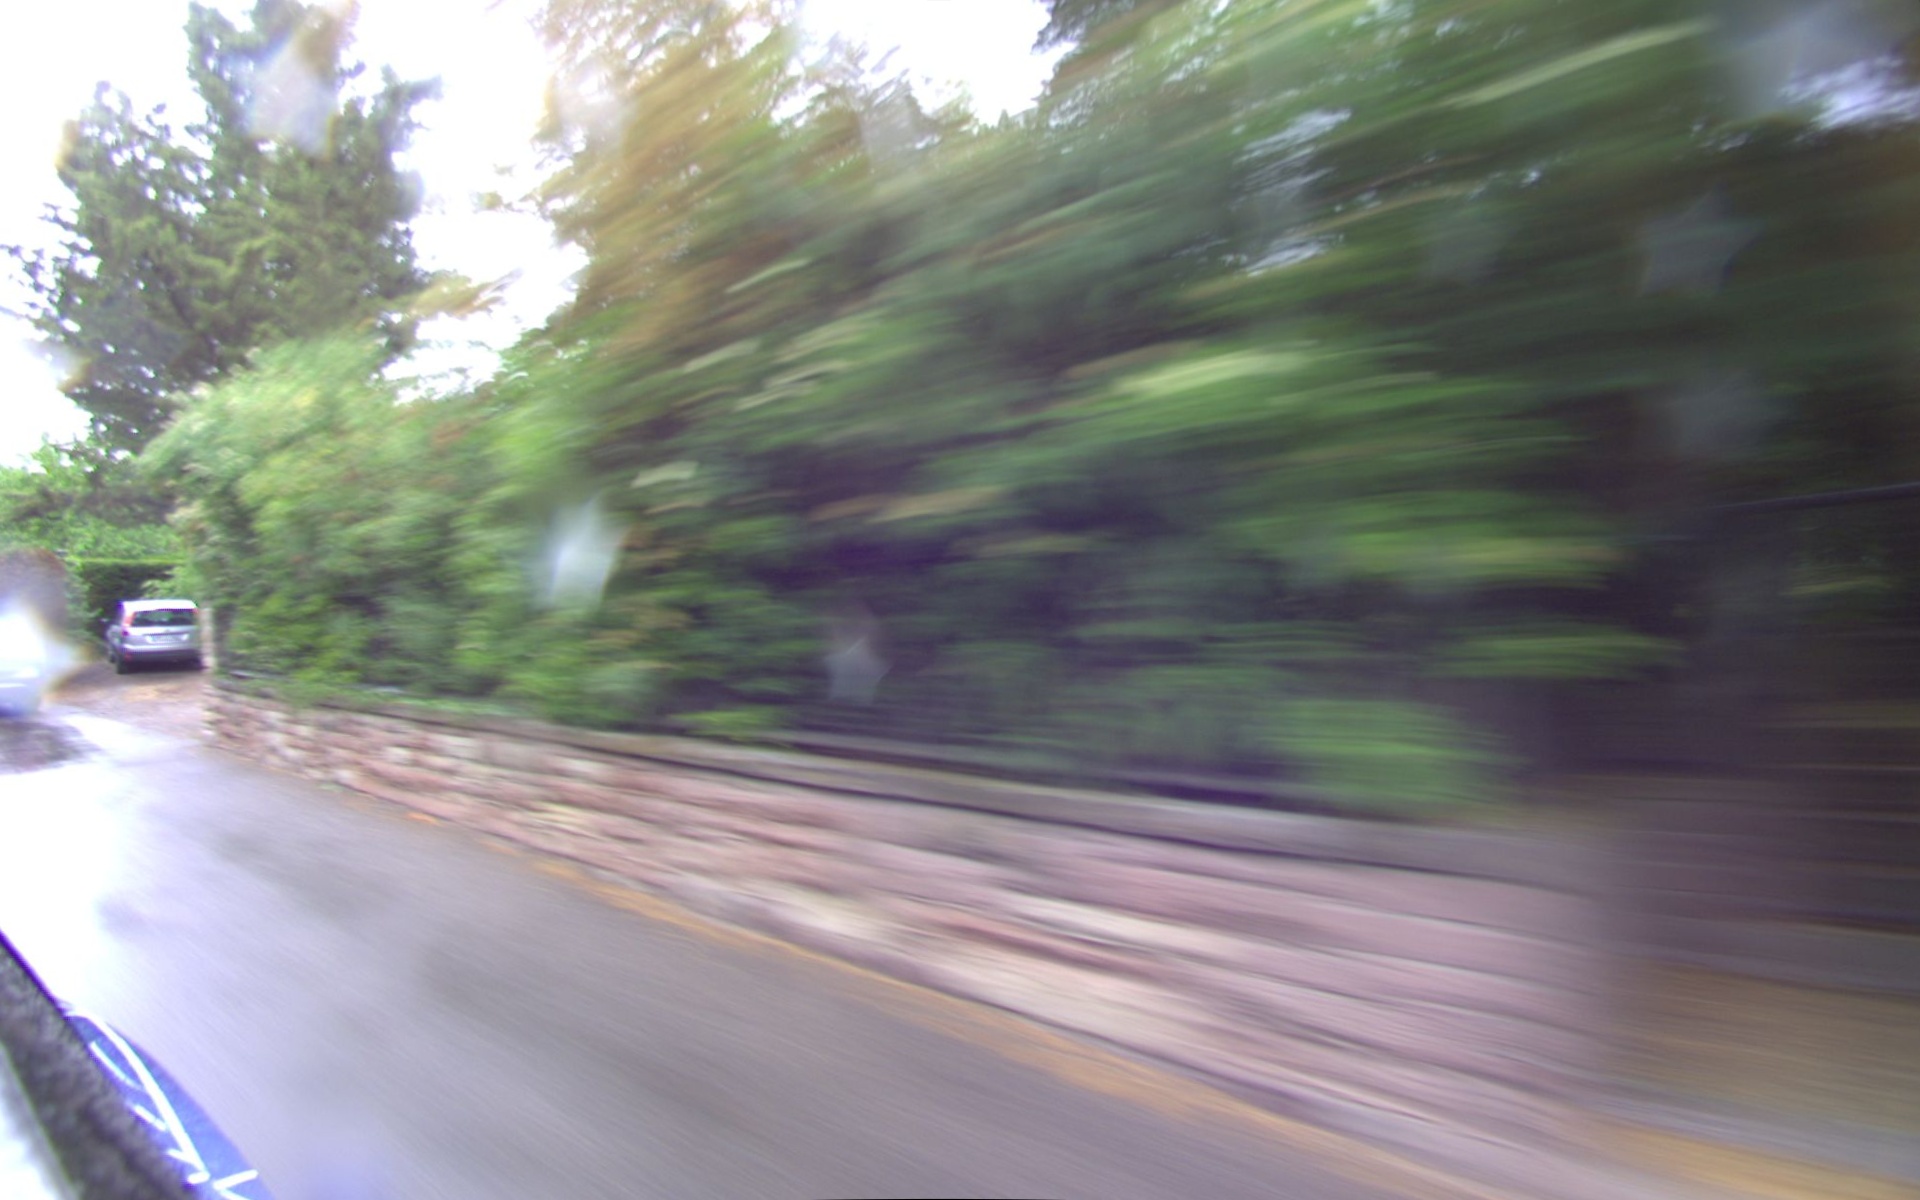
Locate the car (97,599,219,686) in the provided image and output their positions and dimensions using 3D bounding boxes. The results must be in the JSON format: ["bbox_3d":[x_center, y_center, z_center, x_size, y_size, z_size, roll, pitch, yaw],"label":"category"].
[{"bbox_3d":[-17.762,0.858,22.358,1.763,1.537,3.660,-4,5,-43],"label":"car"}]

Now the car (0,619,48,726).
[{"bbox_3d":[-16.078,1.086,15.760,4.411,1.535,1.872,0,0,35],"label":"car"}]
